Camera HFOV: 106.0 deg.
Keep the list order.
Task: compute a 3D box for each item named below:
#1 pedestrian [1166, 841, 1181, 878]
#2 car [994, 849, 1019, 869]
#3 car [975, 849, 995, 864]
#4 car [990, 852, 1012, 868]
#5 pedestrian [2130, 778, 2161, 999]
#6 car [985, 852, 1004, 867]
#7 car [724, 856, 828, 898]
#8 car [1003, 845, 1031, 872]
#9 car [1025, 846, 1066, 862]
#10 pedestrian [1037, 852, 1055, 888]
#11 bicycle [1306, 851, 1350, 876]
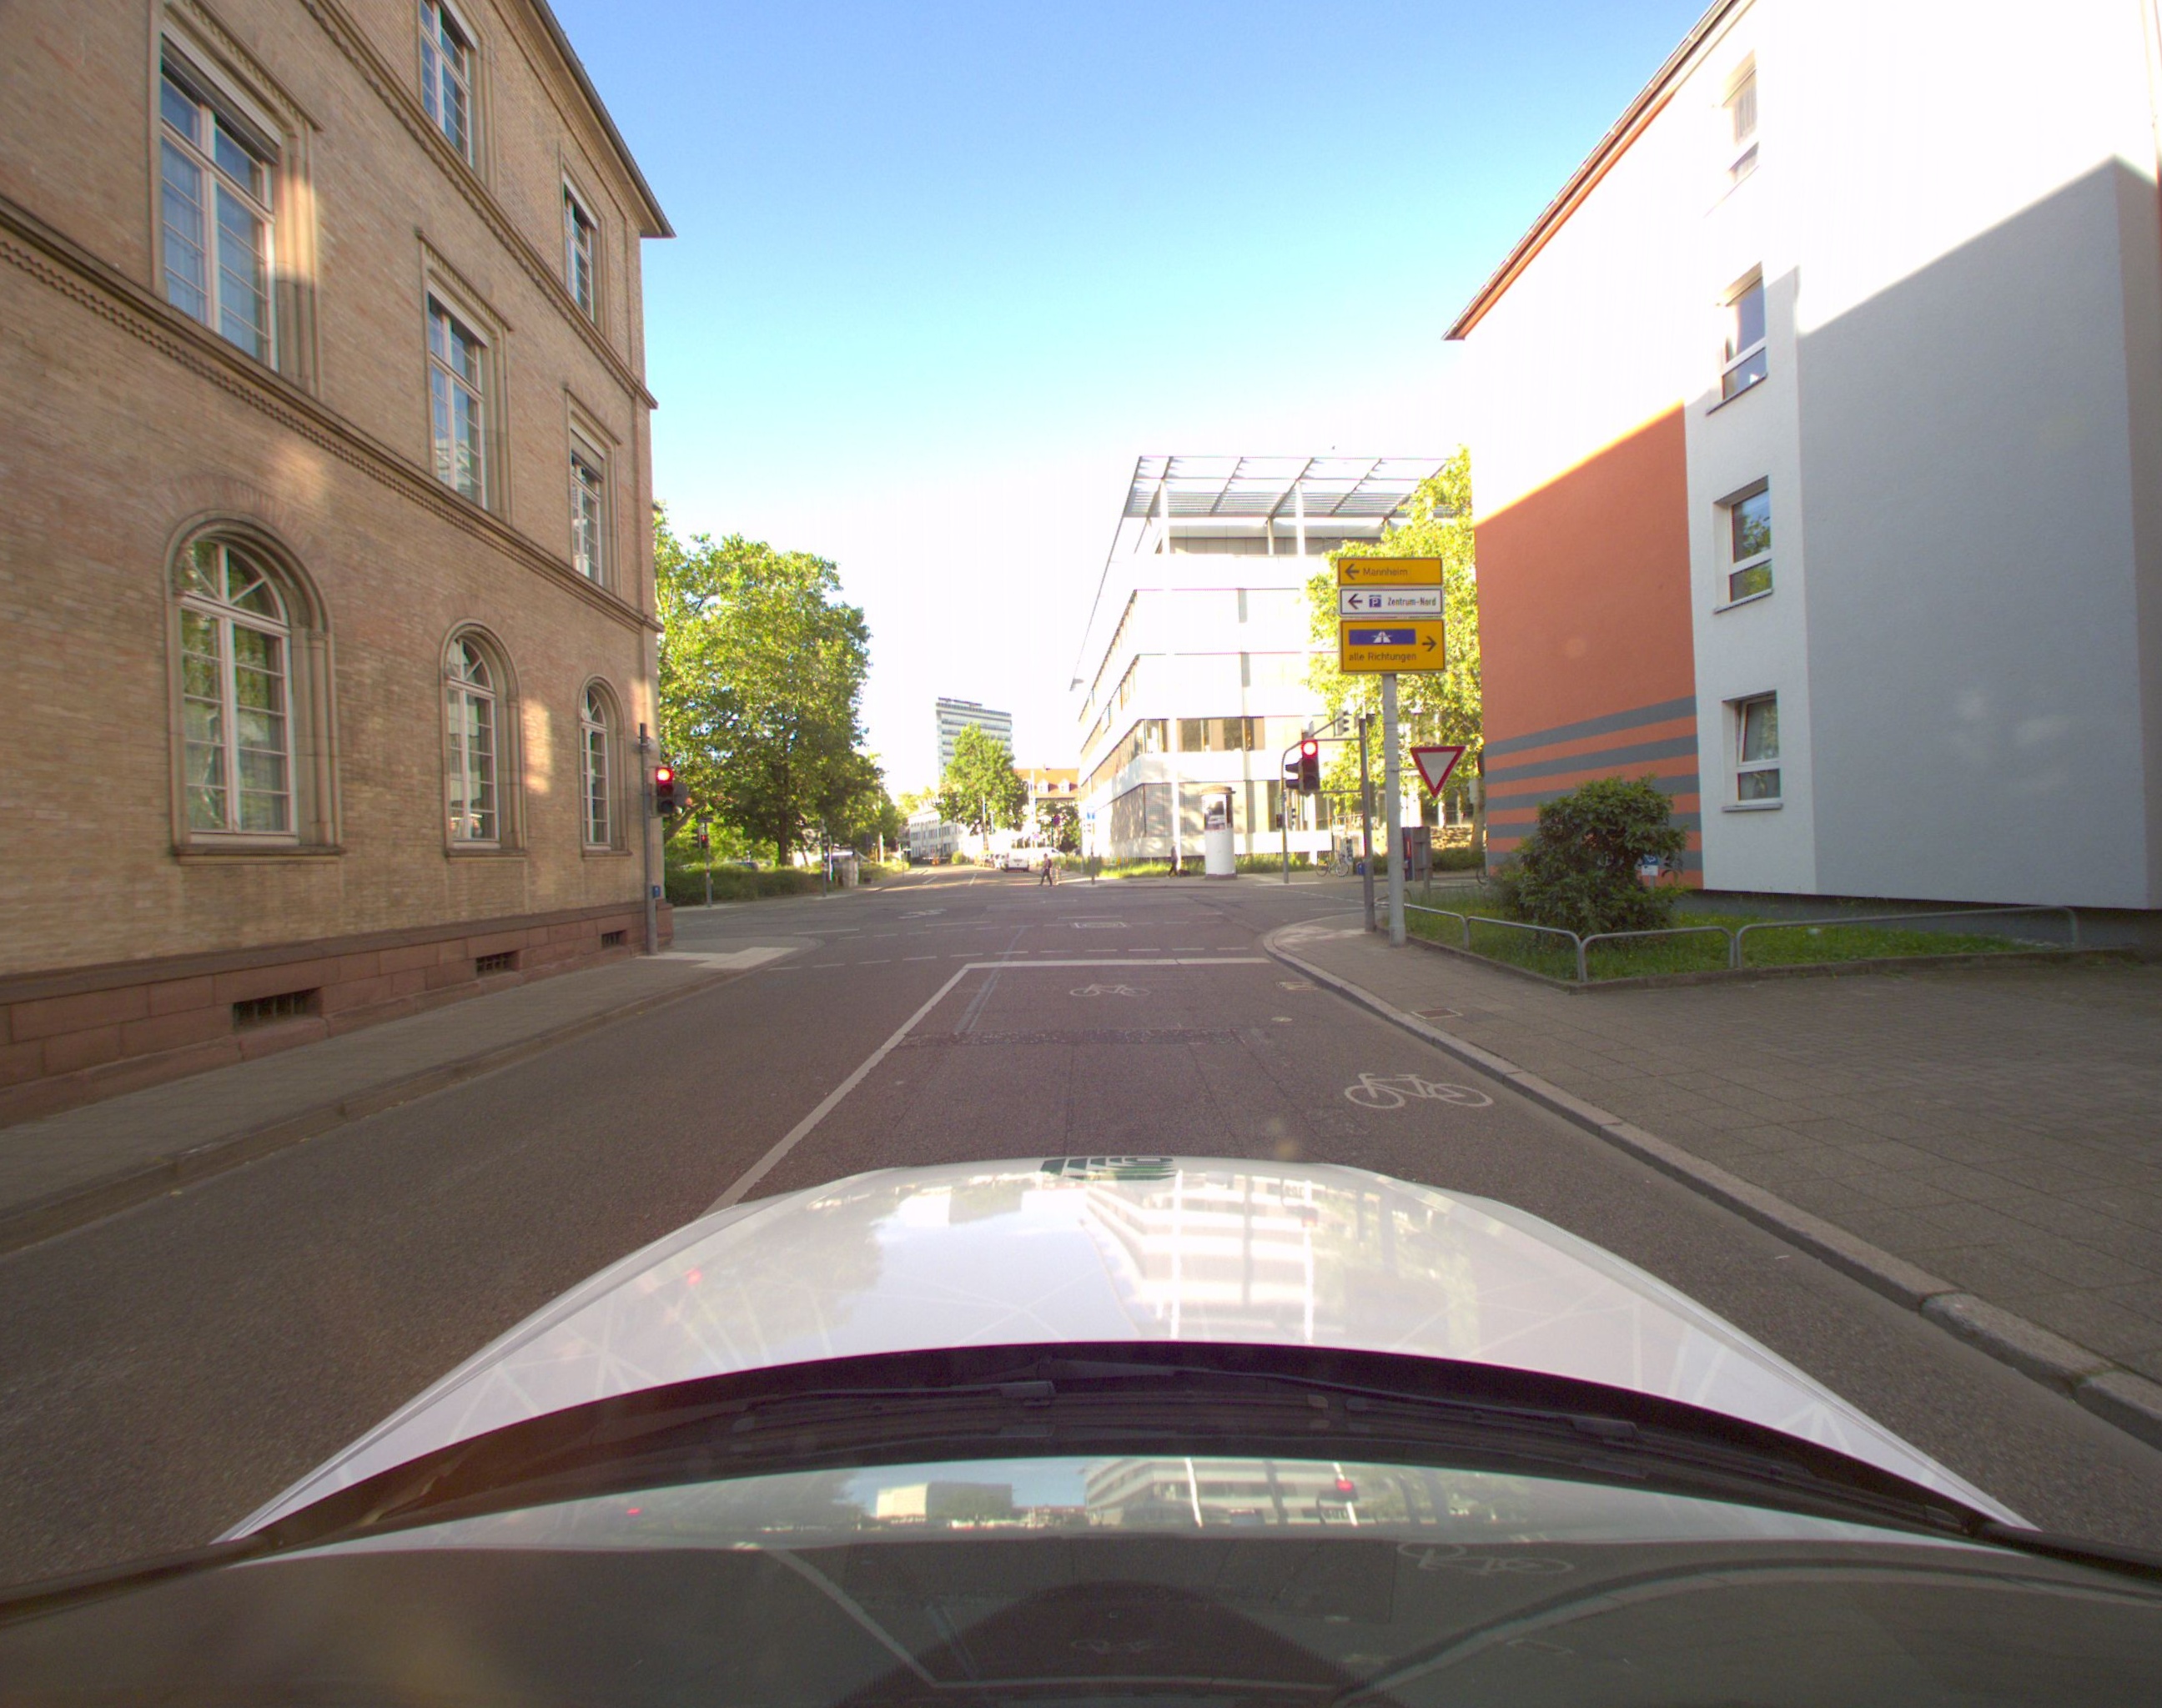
[{"bbox_3d":[4.427,0.261,38.980,0.649,1.736,0.813,-2,0,5],"label":"pedestrian"},{"bbox_3d":[-7.079,0.446,76.767,1.947,1.795,4.223,-2,0,-11],"label":"car"},{"bbox_3d":[-11.324,0.237,96.127,2.100,1.658,4.461,-2,0,-9],"label":"car"},{"bbox_3d":[-8.041,0.578,81.371,1.705,1.424,4.221,-2,0,-11],"label":"car"},{"bbox_3d":[8.014,0.234,5.439,0.745,1.573,0.957,-3,0,1],"label":"pedestrian"},{"bbox_3d":[-9.205,0.555,86.246,1.704,1.464,4.225,-2,0,-9],"label":"car"},{"bbox_3d":[-14.405,1.056,38.641,4.219,1.777,1.901,-2,0,-7],"label":"car"},{"bbox_3d":[-5.136,0.357,64.938,2.065,1.963,4.228,-2,0,-7],"label":"car"},{"bbox_3d":[-4.519,0.030,103.173,4.889,1.872,1.990,-1,-1,-15],"label":"car"},{"bbox_3d":[-1.603,0.712,37.155,0.709,1.599,0.617,-2,0,1],"label":"pedestrian"},{"bbox_3d":[10.897,0.422,36.000,0.467,1.049,1.893,-2,0,-40],"label":"bicycle"}]
